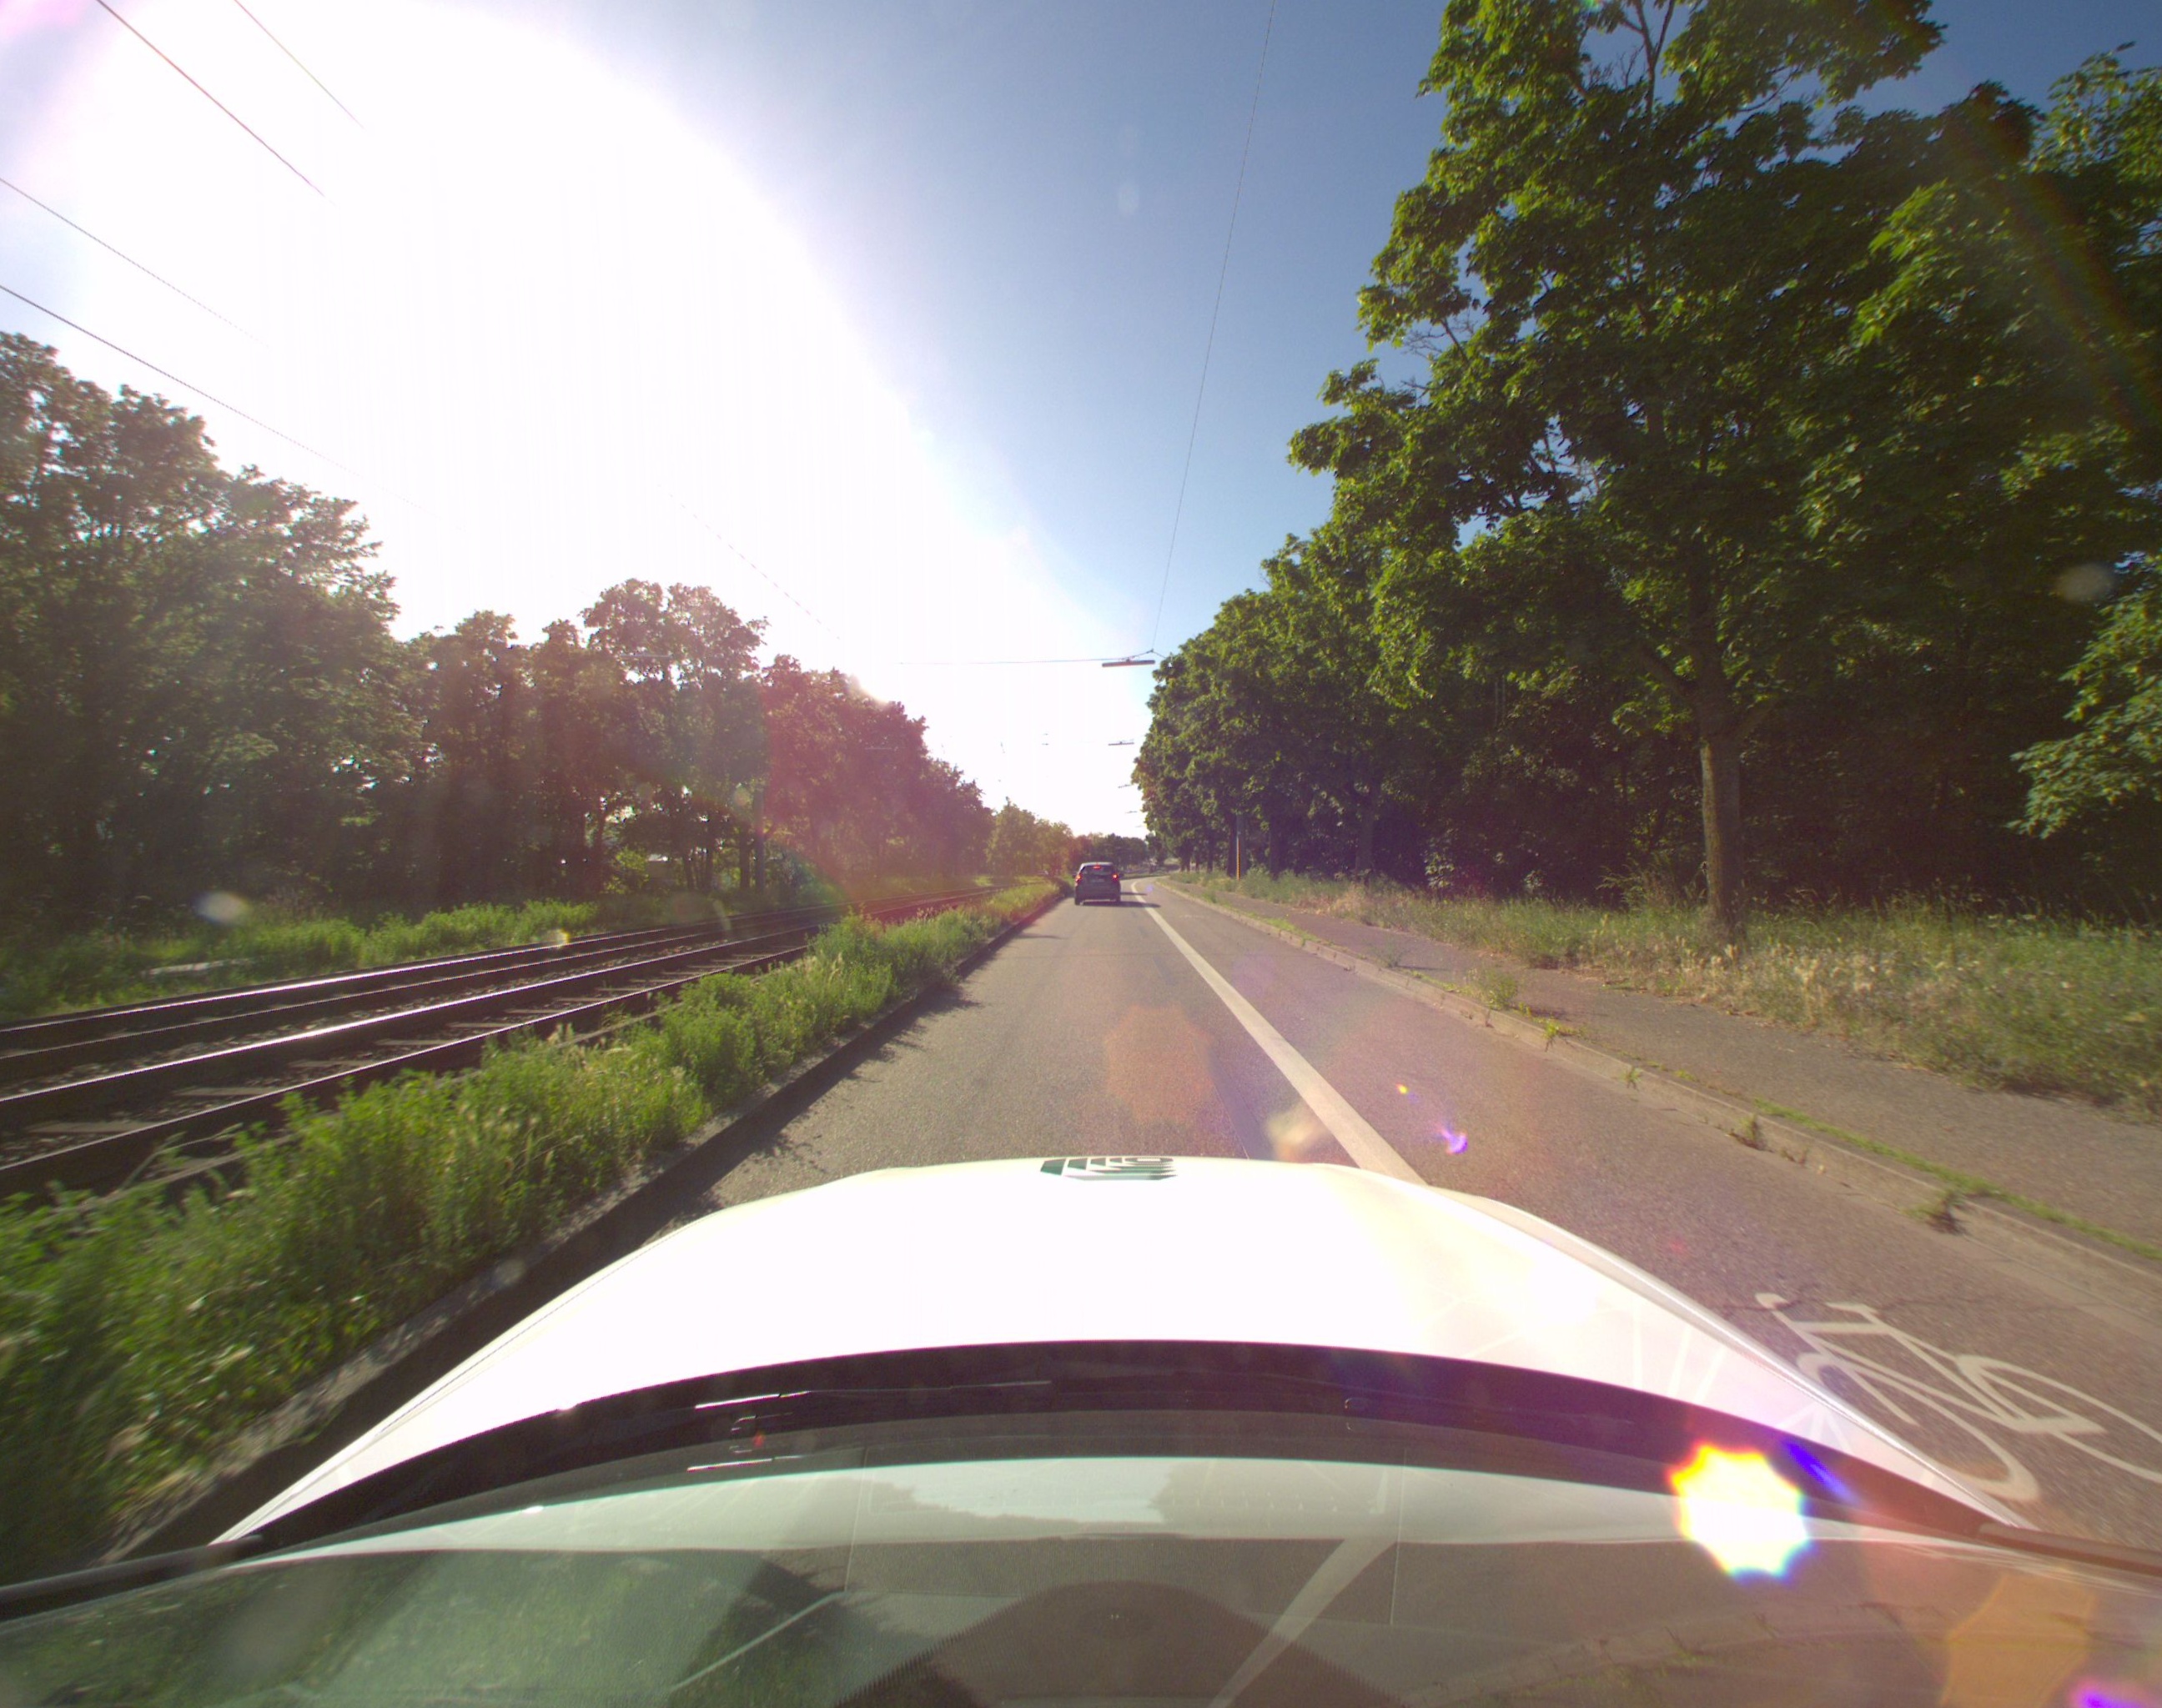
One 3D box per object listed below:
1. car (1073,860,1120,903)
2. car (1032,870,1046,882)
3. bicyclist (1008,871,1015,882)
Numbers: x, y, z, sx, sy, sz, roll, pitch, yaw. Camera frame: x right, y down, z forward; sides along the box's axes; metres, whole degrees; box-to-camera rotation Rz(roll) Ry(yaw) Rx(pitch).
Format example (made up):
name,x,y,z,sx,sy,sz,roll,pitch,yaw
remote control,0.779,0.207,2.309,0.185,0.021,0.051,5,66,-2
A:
name,x,y,z,sx,sy,sz,roll,pitch,yaw
car,0.635,1.020,30.642,1.663,1.508,3.812,0,-1,2
car,-7.411,3.821,143.170,1.984,1.876,4.006,0,1,5
bicyclist,-9.567,3.148,112.564,0.786,1.489,1.110,0,1,4
